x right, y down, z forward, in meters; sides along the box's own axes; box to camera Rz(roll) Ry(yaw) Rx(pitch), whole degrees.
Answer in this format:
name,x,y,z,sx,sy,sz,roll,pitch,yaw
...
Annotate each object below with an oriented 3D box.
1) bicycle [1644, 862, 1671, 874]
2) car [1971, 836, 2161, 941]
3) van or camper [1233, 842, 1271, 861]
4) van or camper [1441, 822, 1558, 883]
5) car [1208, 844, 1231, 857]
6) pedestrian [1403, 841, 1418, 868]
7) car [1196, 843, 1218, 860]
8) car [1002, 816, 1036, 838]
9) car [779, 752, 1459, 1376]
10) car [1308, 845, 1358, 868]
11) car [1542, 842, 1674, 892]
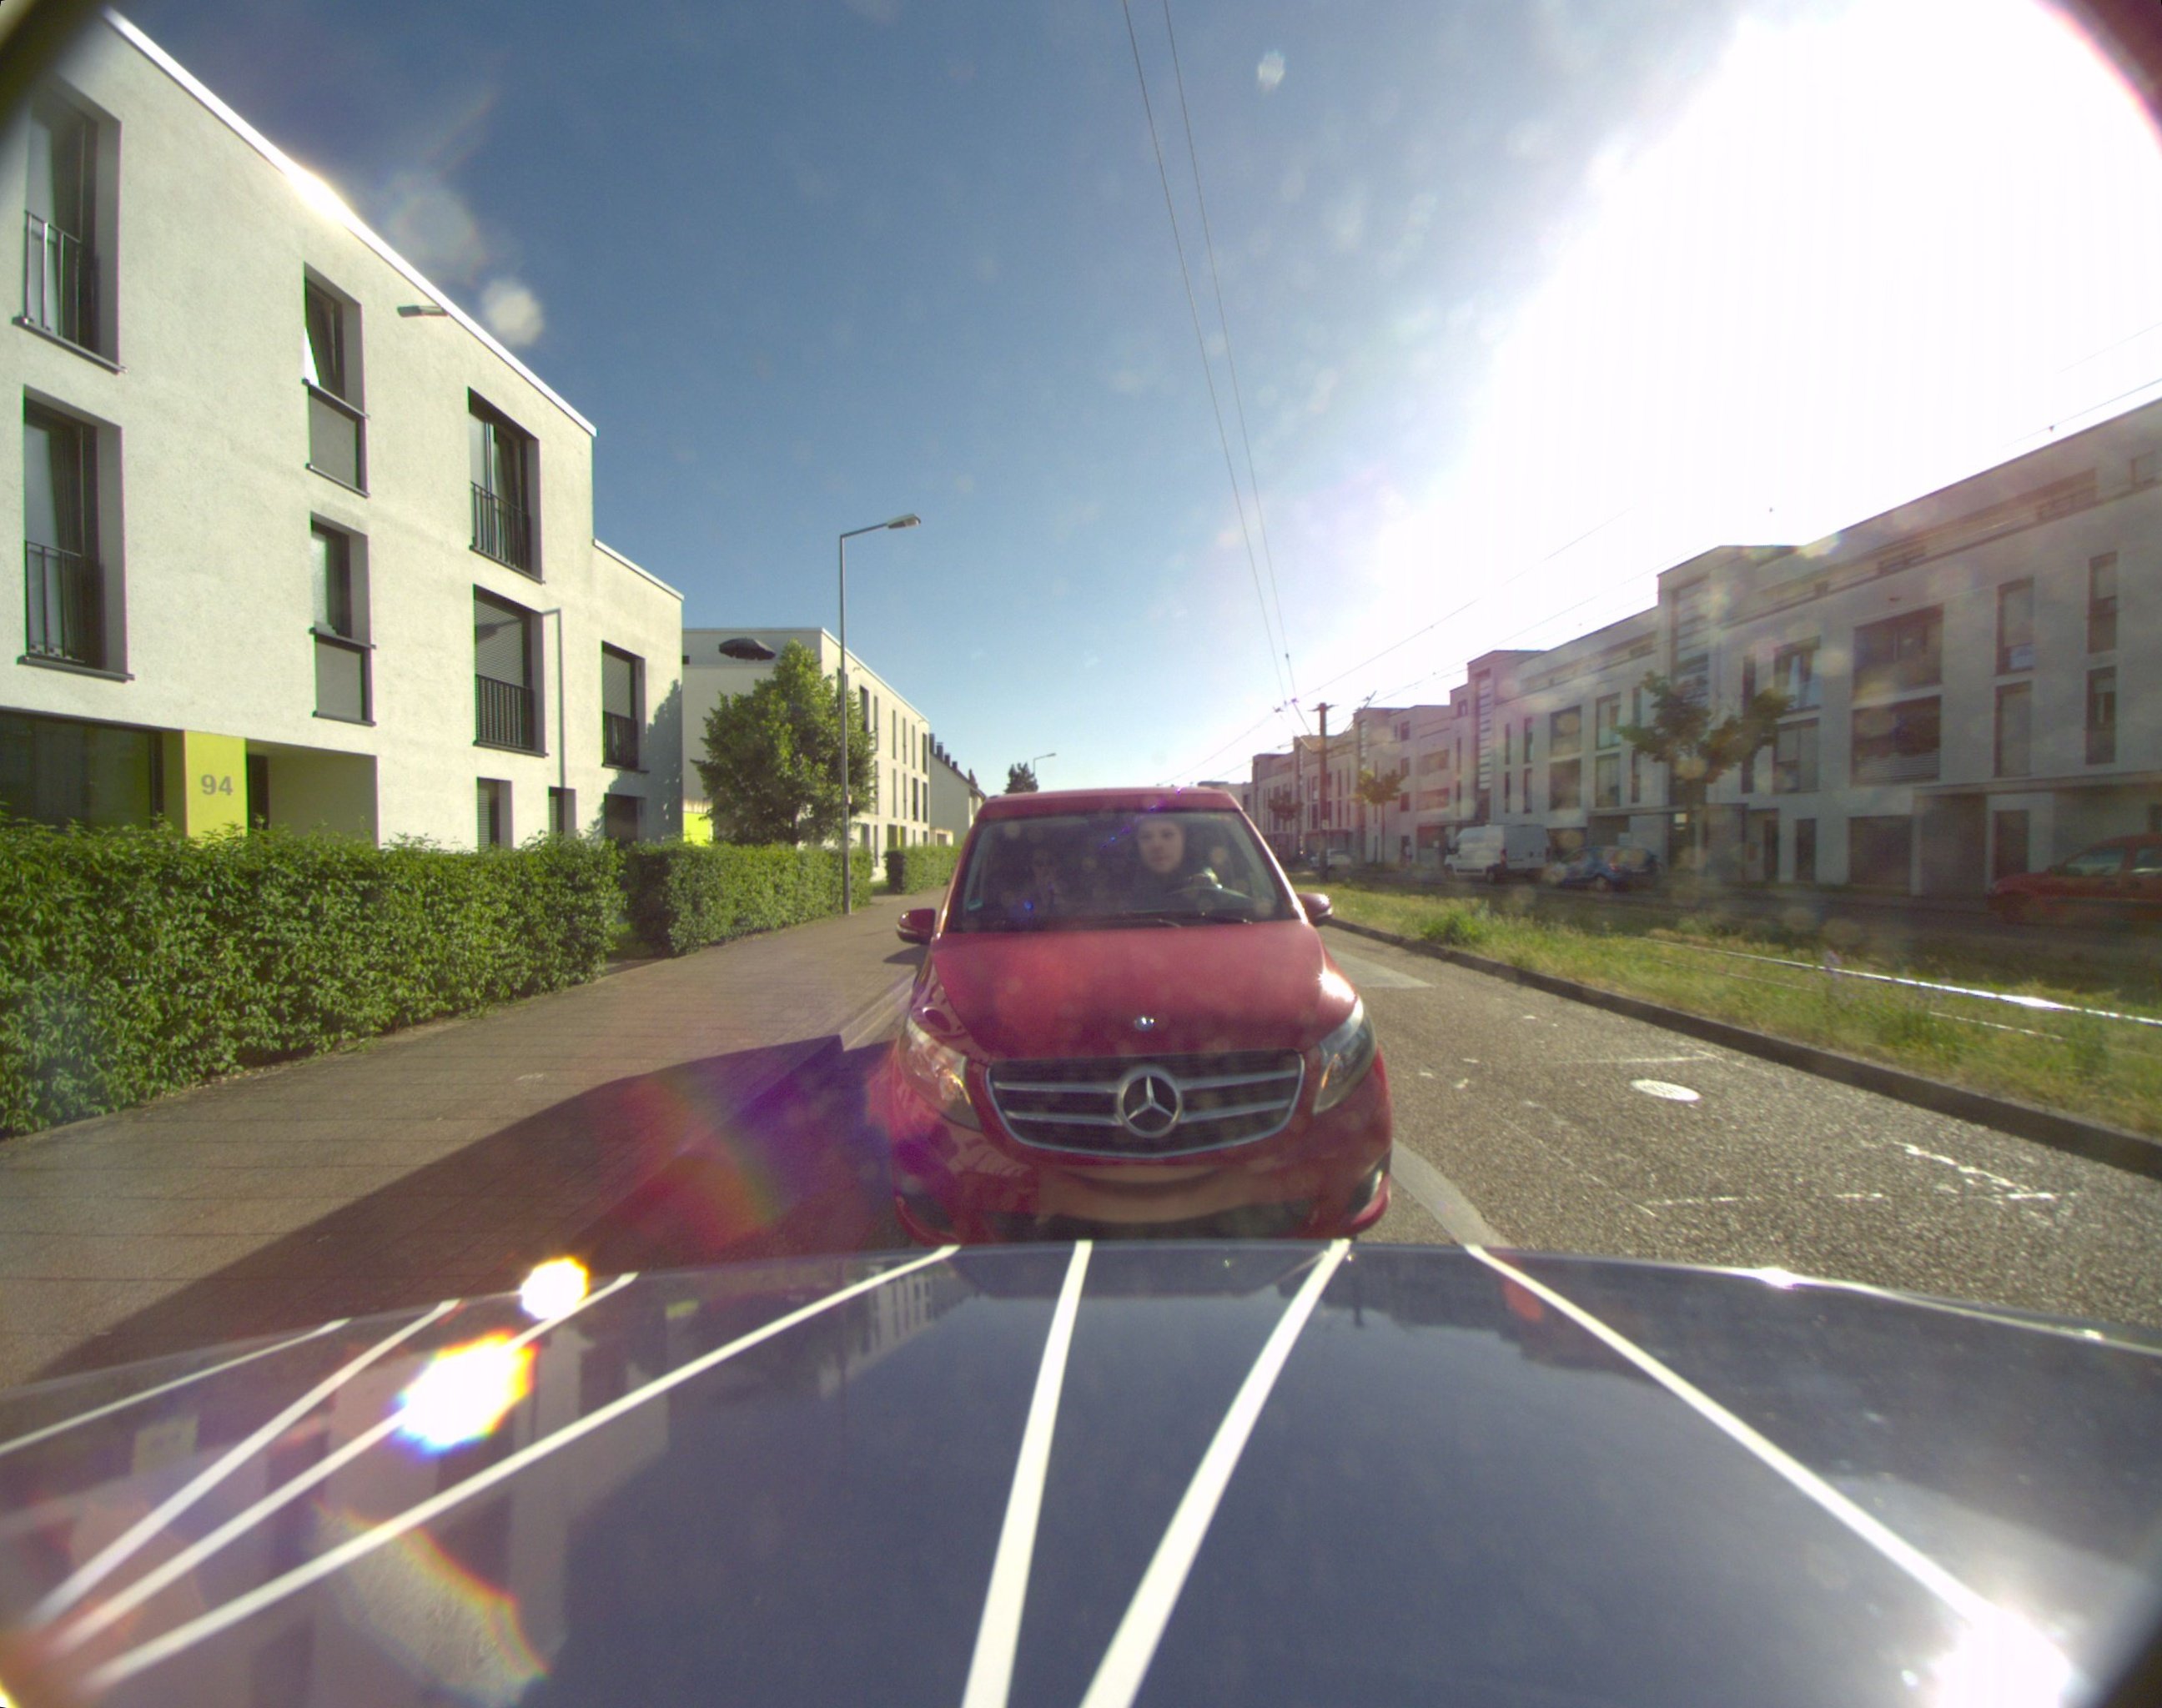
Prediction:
name,x,y,z,sx,sy,sz,roll,pitch,yaw
bicycle,25.005,0.597,32.946,0.354,0.495,1.061,0,1,-1
car,18.500,0.565,13.063,1.793,1.713,3.907,1,1,1
van or camper,16.877,-0.281,75.459,2.273,1.838,6.284,-1,1,-1
van or camper,18.195,-0.106,33.392,2.197,2.451,5.259,0,1,0
car,15.838,-0.423,87.041,1.867,1.430,3.496,-2,1,-4
pedestrian,20.096,0.044,46.350,0.619,1.634,0.612,-2,1,-7
car,15.591,-0.342,94.114,1.788,2.002,3.998,-2,1,-4
car,-7.146,-3.073,88.631,3.182,2.333,6.174,-2,1,1
car,0.163,0.667,4.997,2.127,1.958,5.083,-2,1,1
car,17.835,0.140,53.973,2.047,1.577,4.119,0,1,-3
car,18.302,0.395,26.647,1.934,1.604,3.835,0,1,0
